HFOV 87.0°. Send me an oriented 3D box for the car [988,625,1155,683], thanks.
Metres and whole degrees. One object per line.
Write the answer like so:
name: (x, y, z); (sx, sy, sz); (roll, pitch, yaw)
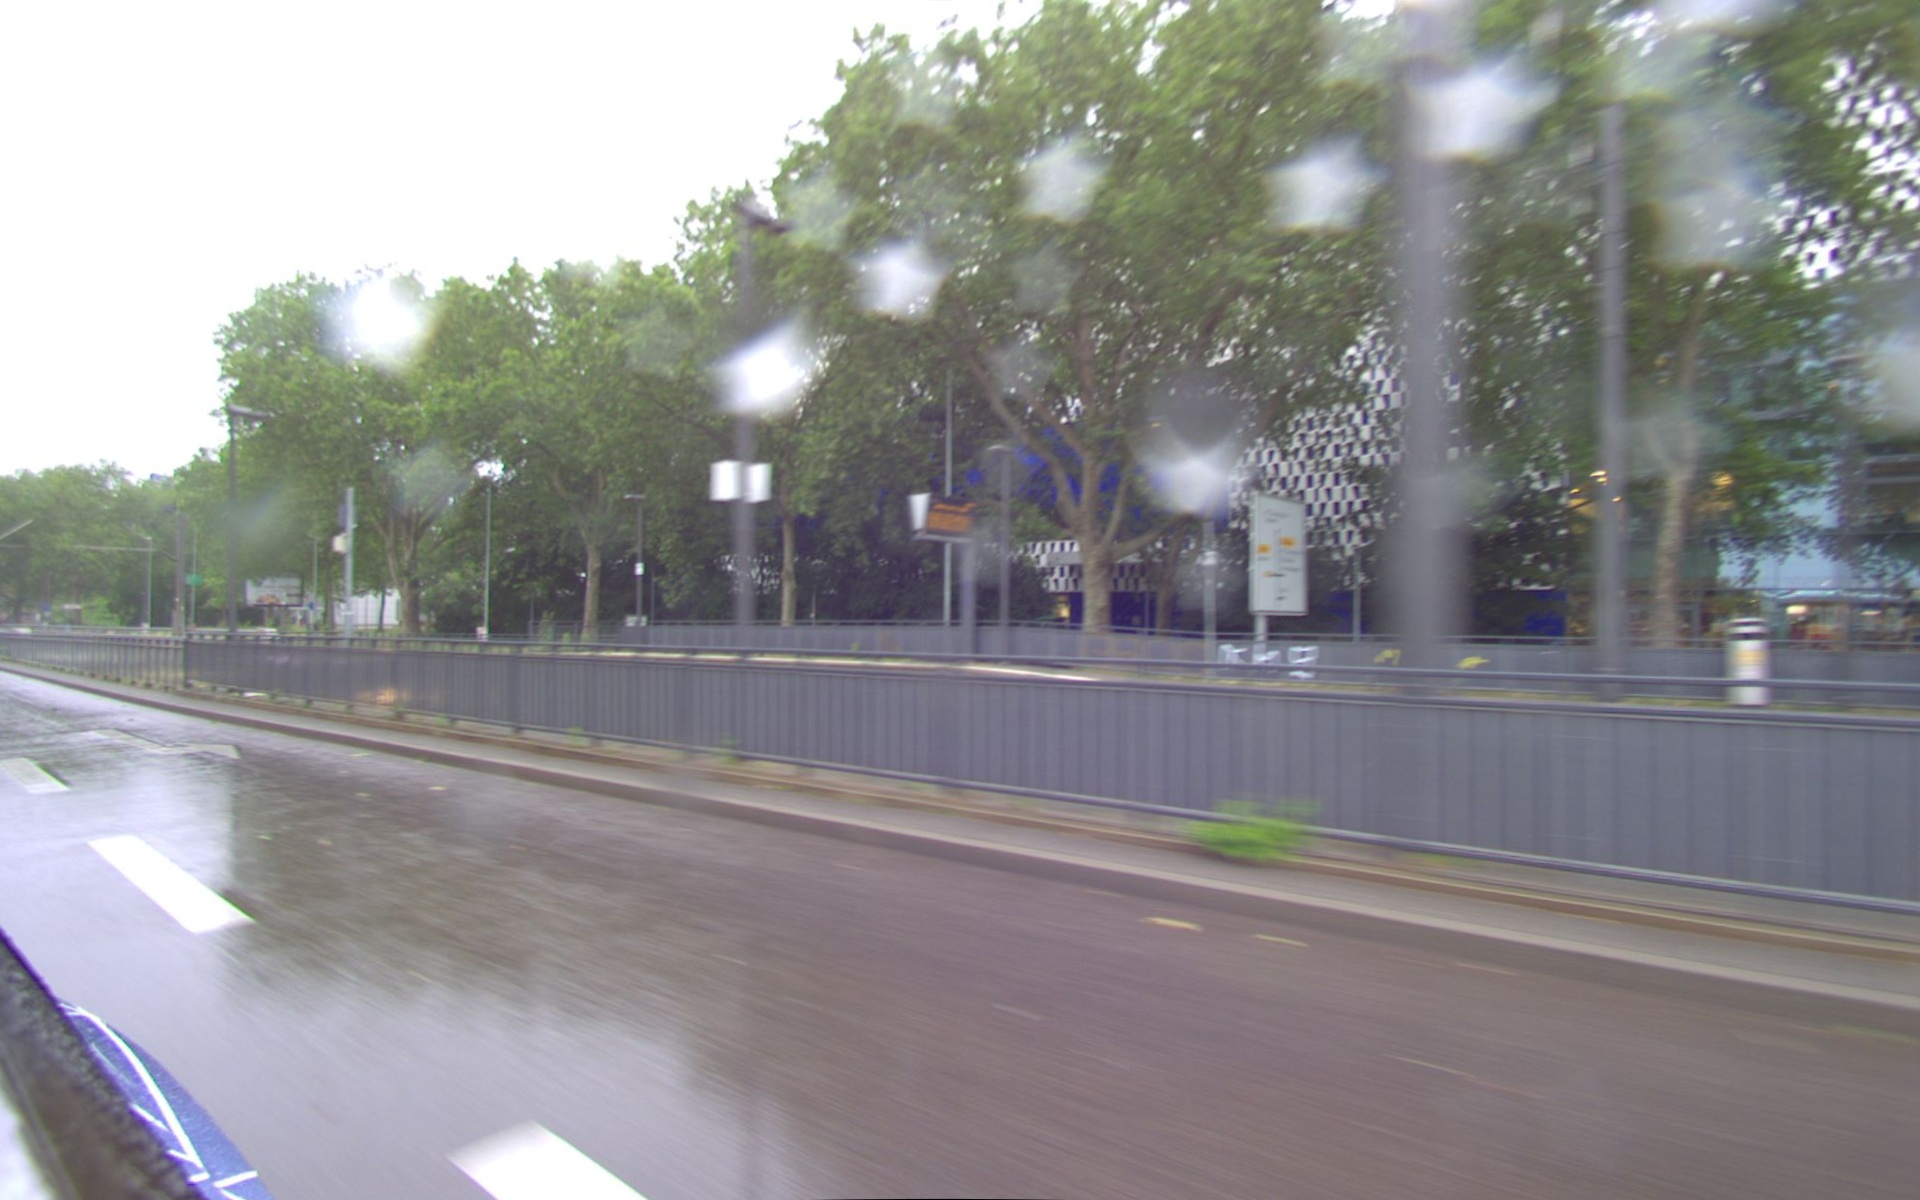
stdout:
car: (2.905, 1.371, 26.795); (3.995, 1.394, 1.931); (-1, -1, 38)
